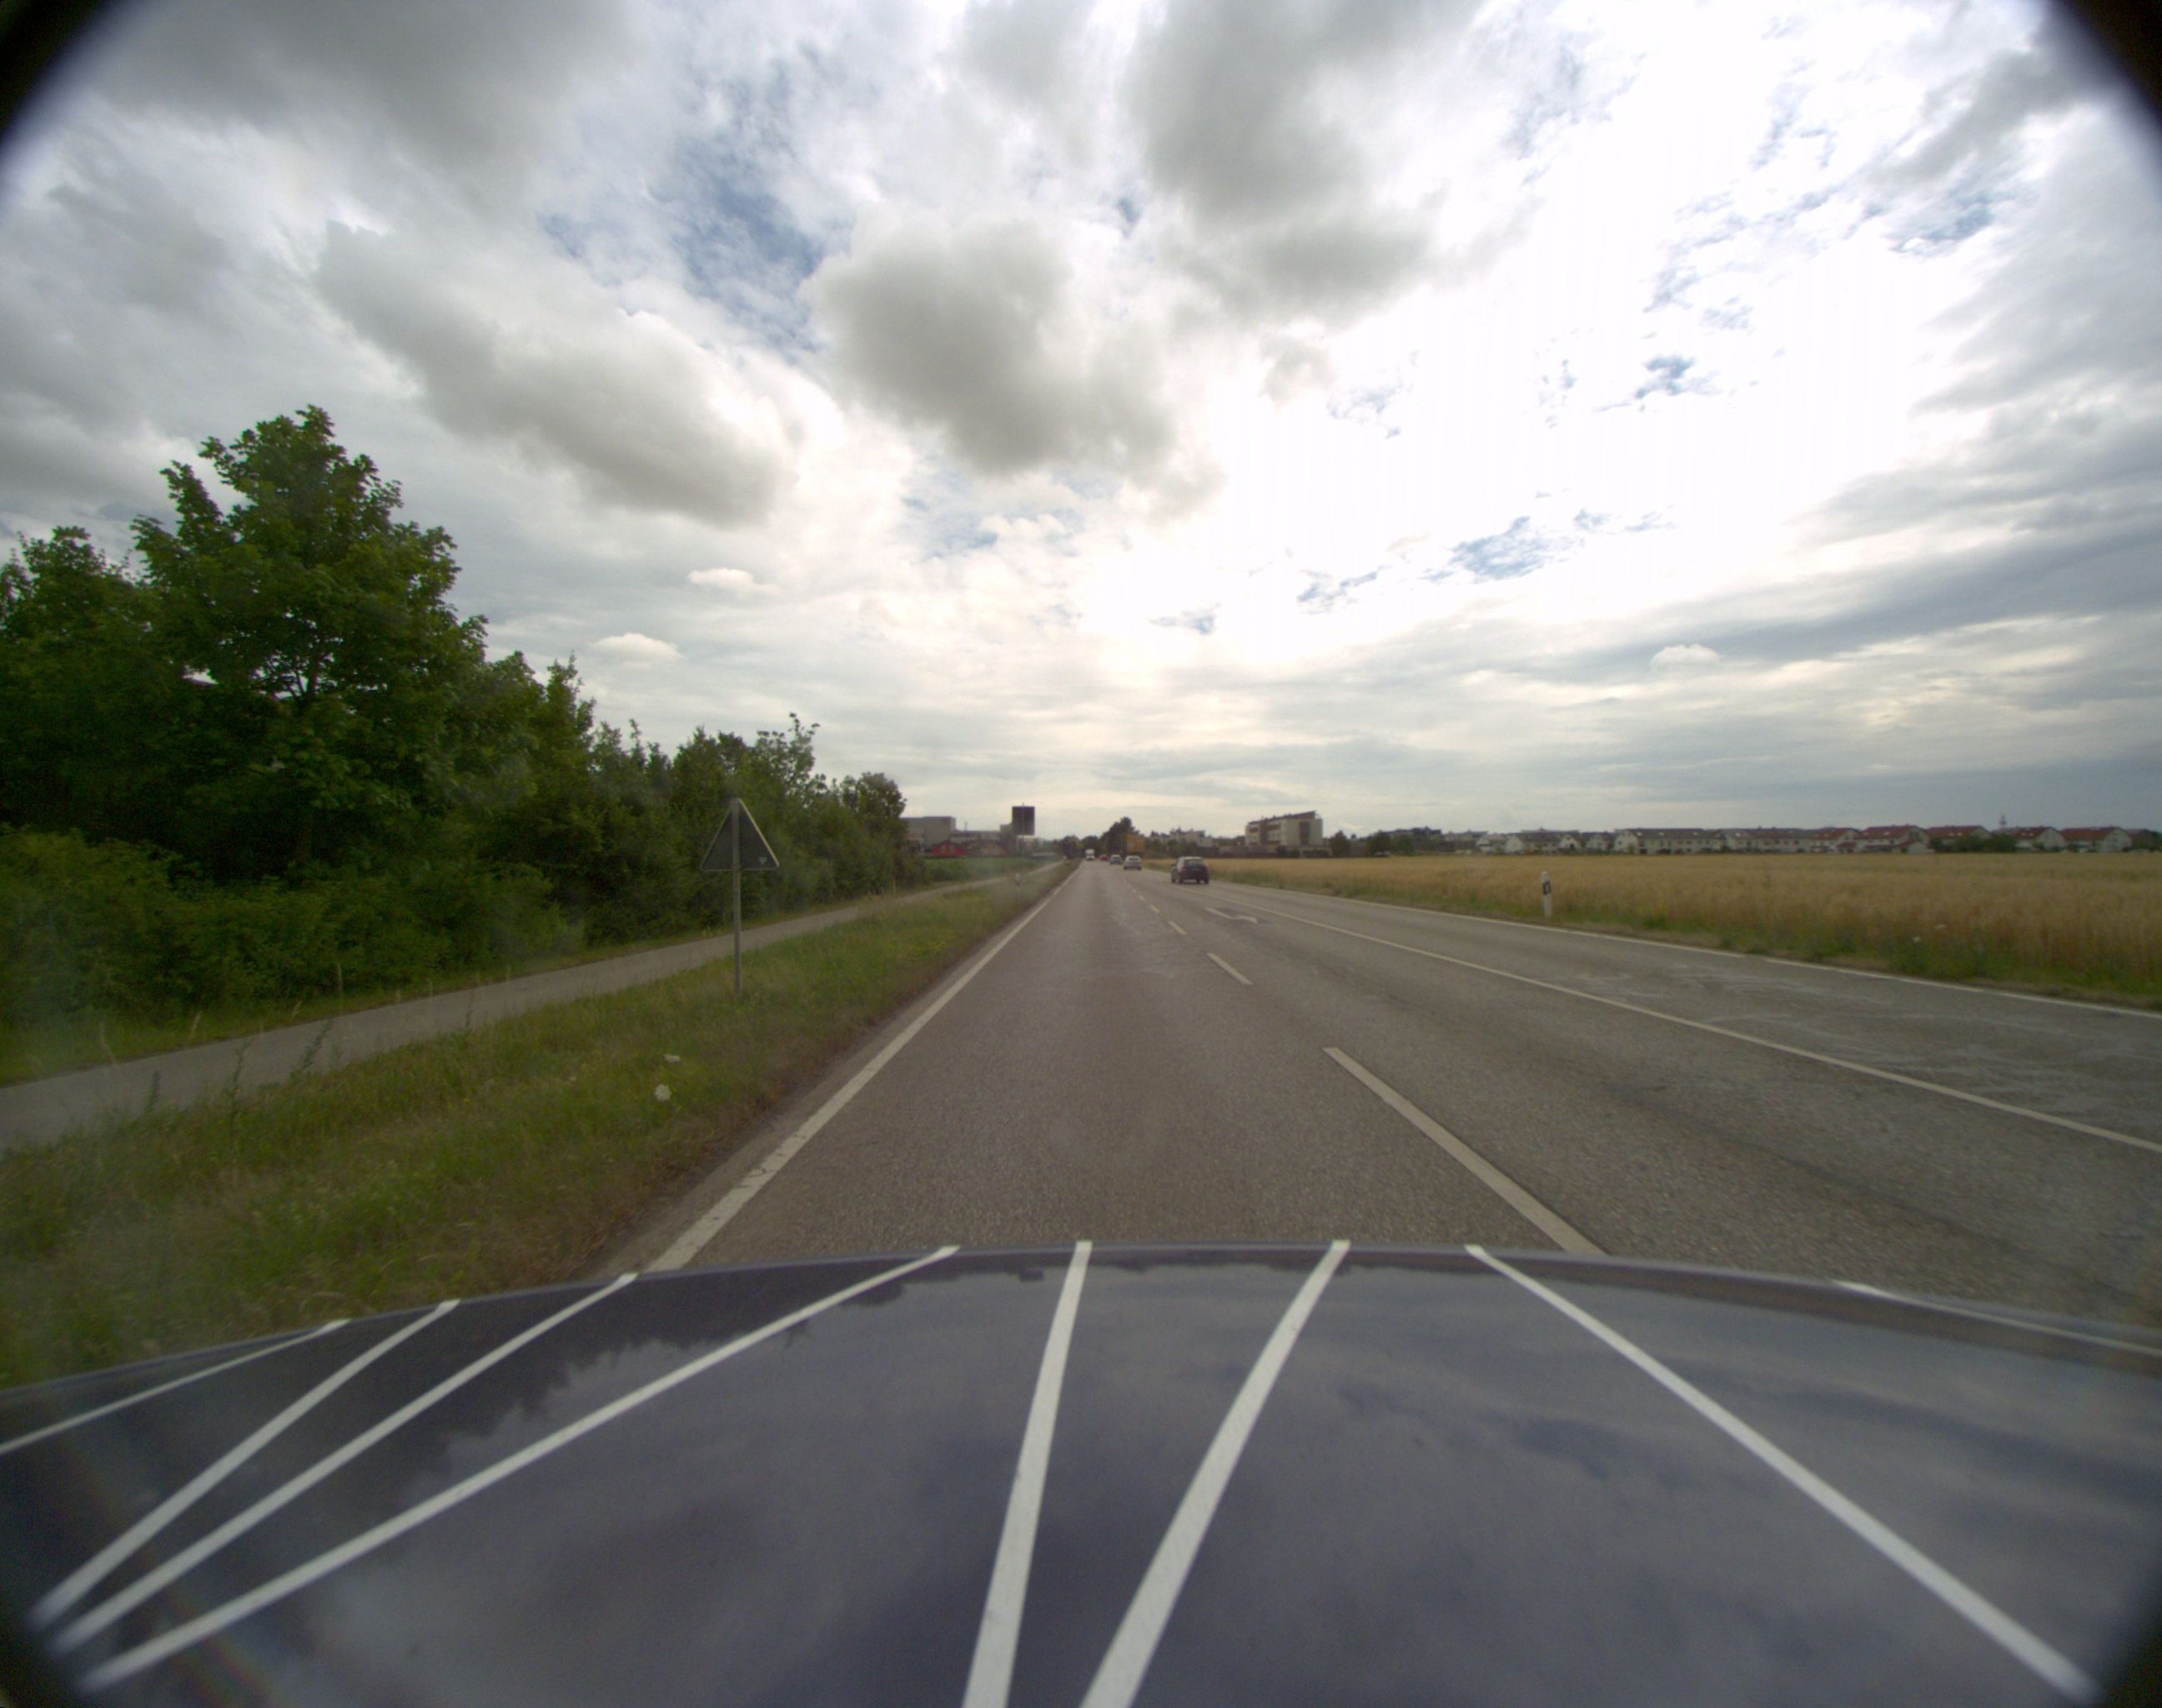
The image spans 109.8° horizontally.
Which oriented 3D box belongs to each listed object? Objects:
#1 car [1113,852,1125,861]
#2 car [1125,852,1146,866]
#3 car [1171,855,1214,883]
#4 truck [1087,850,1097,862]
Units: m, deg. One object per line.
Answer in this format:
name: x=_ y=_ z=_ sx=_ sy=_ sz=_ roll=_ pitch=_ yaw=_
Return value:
car: x=6.402 y=0.354 z=127.704 sx=1.856 sy=1.480 sz=4.264 roll=0 pitch=0 yaw=-1
car: x=5.926 y=0.557 z=83.248 sx=1.856 sy=1.480 sz=4.263 roll=0 pitch=0 yaw=-1
car: x=6.228 y=0.825 z=42.701 sx=1.740 sy=1.450 sz=4.131 roll=-1 pitch=0 yaw=-1
truck: x=3.208 y=0.528 z=226.205 sx=2.813 sy=3.588 sz=11.219 roll=-1 pitch=0 yaw=1
